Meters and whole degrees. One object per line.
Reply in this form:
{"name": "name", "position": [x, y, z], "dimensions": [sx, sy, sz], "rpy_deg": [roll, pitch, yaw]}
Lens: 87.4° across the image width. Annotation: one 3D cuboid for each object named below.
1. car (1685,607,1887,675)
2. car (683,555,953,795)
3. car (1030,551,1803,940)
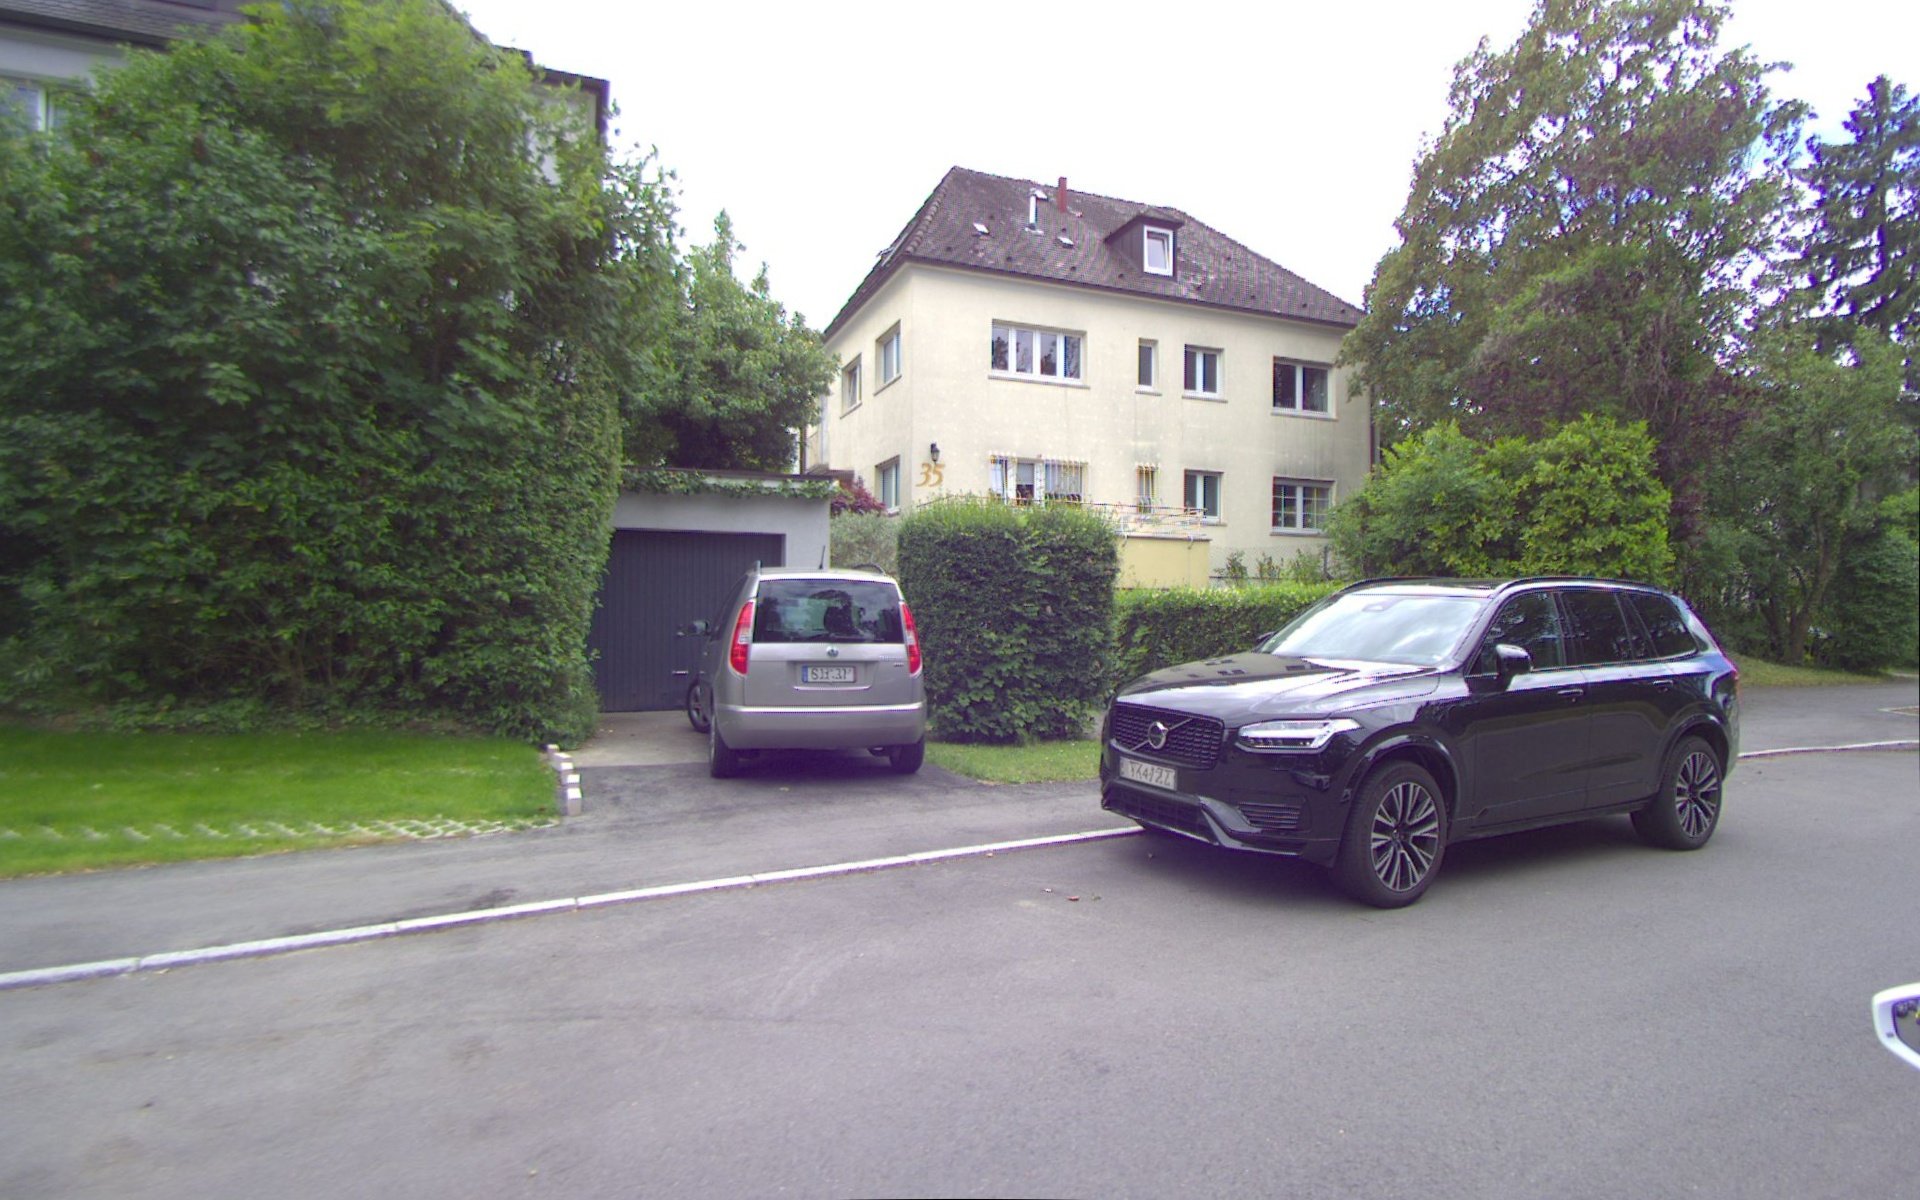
{"name": "car", "position": [23.251, 1.107, 28.445], "dimensions": [1.844, 1.614, 3.973], "rpy_deg": [1, 2, -26]}
{"name": "car", "position": [-1.468, 0.523, 8.980], "dimensions": [1.799, 1.659, 3.690], "rpy_deg": [1, 0, -17]}
{"name": "car", "position": [3.158, 0.696, 6.643], "dimensions": [5.125, 1.760, 1.966], "rpy_deg": [1, 0, -29]}
